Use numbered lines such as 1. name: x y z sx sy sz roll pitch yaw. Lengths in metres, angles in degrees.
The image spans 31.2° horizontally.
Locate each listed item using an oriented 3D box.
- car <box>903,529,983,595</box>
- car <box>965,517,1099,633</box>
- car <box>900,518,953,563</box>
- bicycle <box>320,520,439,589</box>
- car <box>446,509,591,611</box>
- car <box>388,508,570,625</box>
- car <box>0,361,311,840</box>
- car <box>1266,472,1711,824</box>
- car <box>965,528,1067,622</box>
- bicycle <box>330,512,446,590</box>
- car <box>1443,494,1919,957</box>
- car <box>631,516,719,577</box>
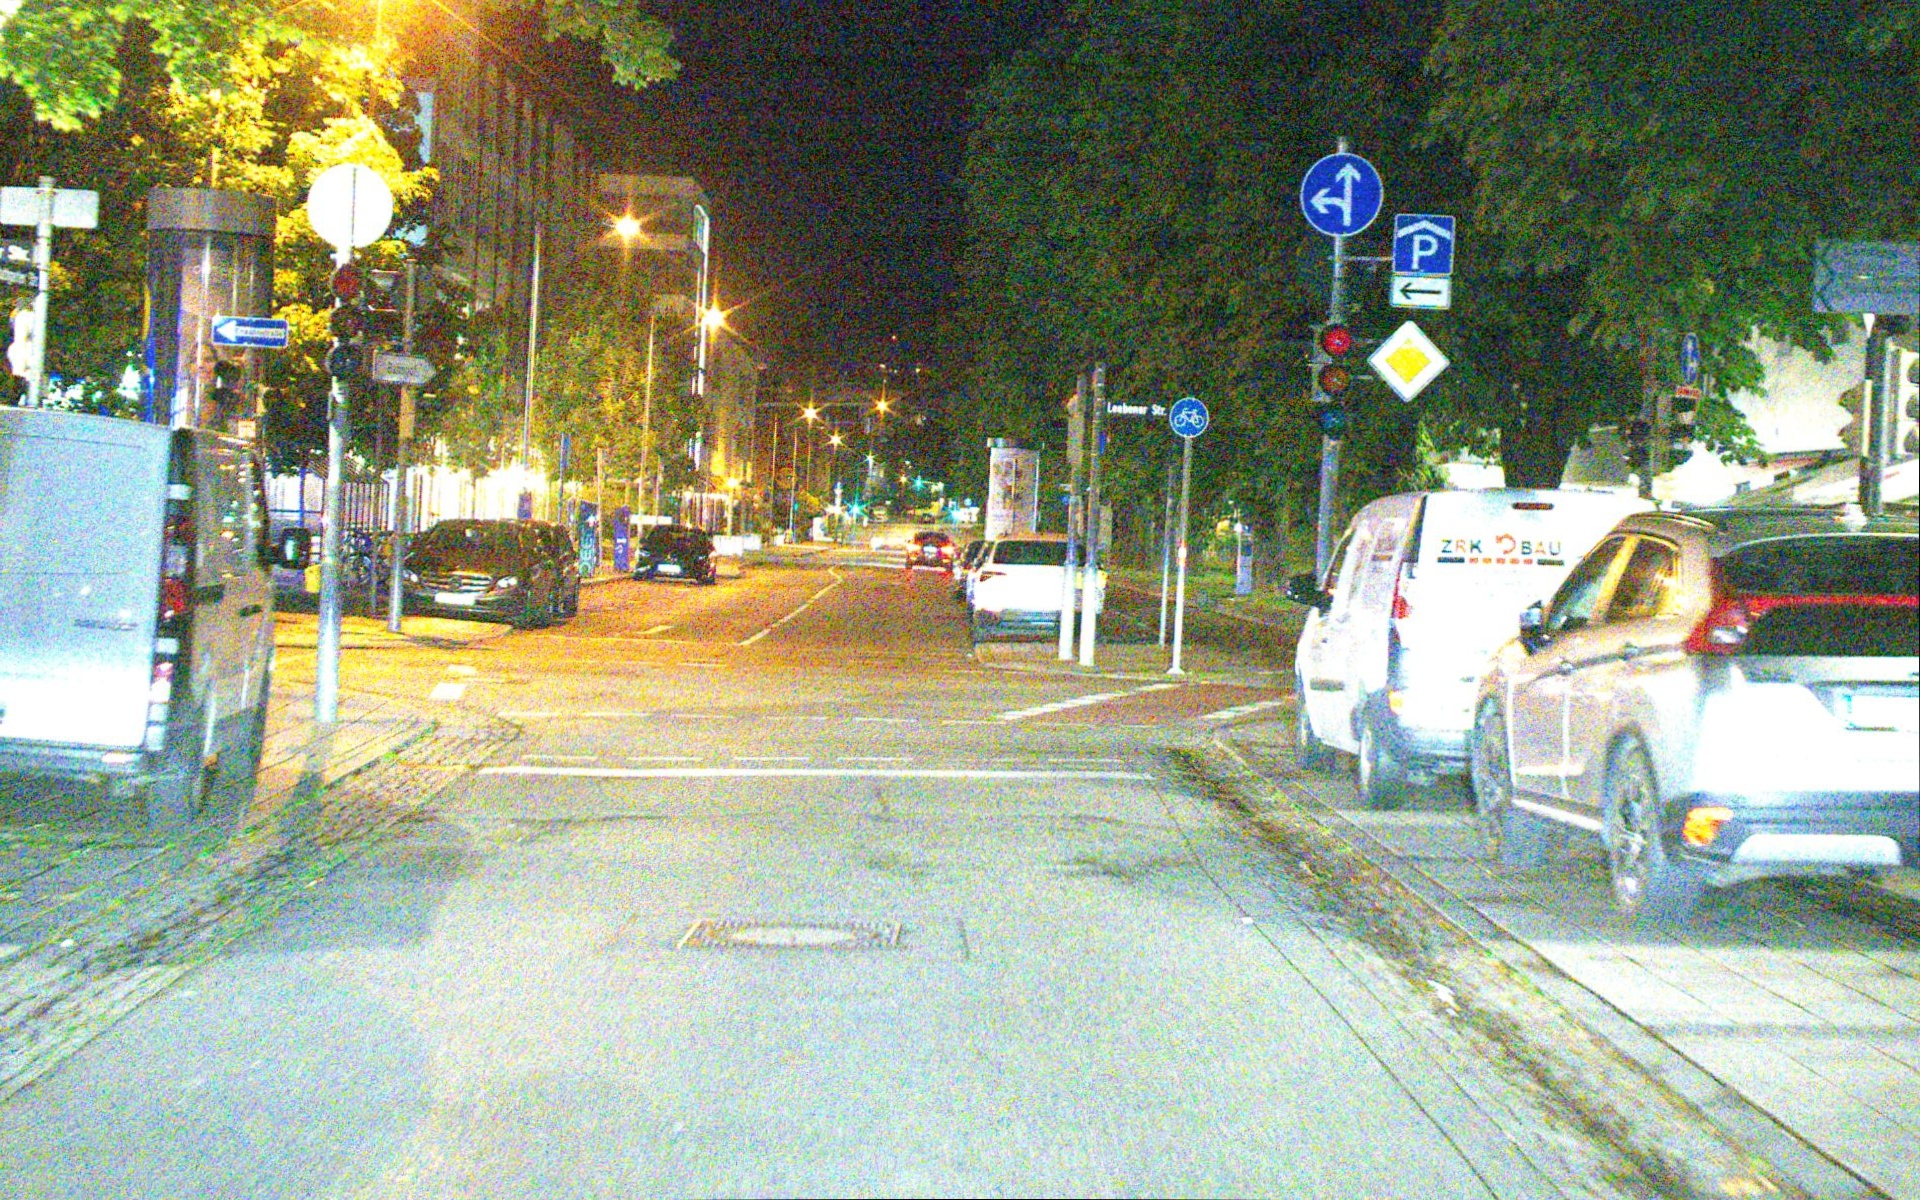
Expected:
1. car: -0.385 -0.907 80.216 1.764 1.409 4.808 2 1 0
2. car: 0.973 -0.379 48.261 1.770 1.531 4.217 1 1 0
3. car: -1.306 -2.315 132.894 1.993 1.637 4.000 2 1 -1
4. bicycle: -9.835 -0.775 58.266 1.851 1.031 0.533 4 1 -1
5. car: -6.990 -0.656 54.718 1.722 1.423 3.977 5 1 0
6. car: -6.728 -0.504 48.580 1.806 1.420 4.921 5 1 0
7. car: -4.620 -0.099 17.912 1.852 2.080 5.092 5 1 -6
8. car: 3.030 0.201 20.675 1.789 1.816 4.580 2 1 -2
9. car: 0.980 -0.479 61.793 1.689 1.531 4.016 3 1 0
10. bicycle: -9.799 -0.839 58.918 1.850 1.249 0.533 3 1 -1
11. car: 3.326 0.419 14.694 1.684 1.653 4.298 2 1 -3
12. car: -7.155 -1.370 86.641 1.741 1.408 4.496 4 1 0
